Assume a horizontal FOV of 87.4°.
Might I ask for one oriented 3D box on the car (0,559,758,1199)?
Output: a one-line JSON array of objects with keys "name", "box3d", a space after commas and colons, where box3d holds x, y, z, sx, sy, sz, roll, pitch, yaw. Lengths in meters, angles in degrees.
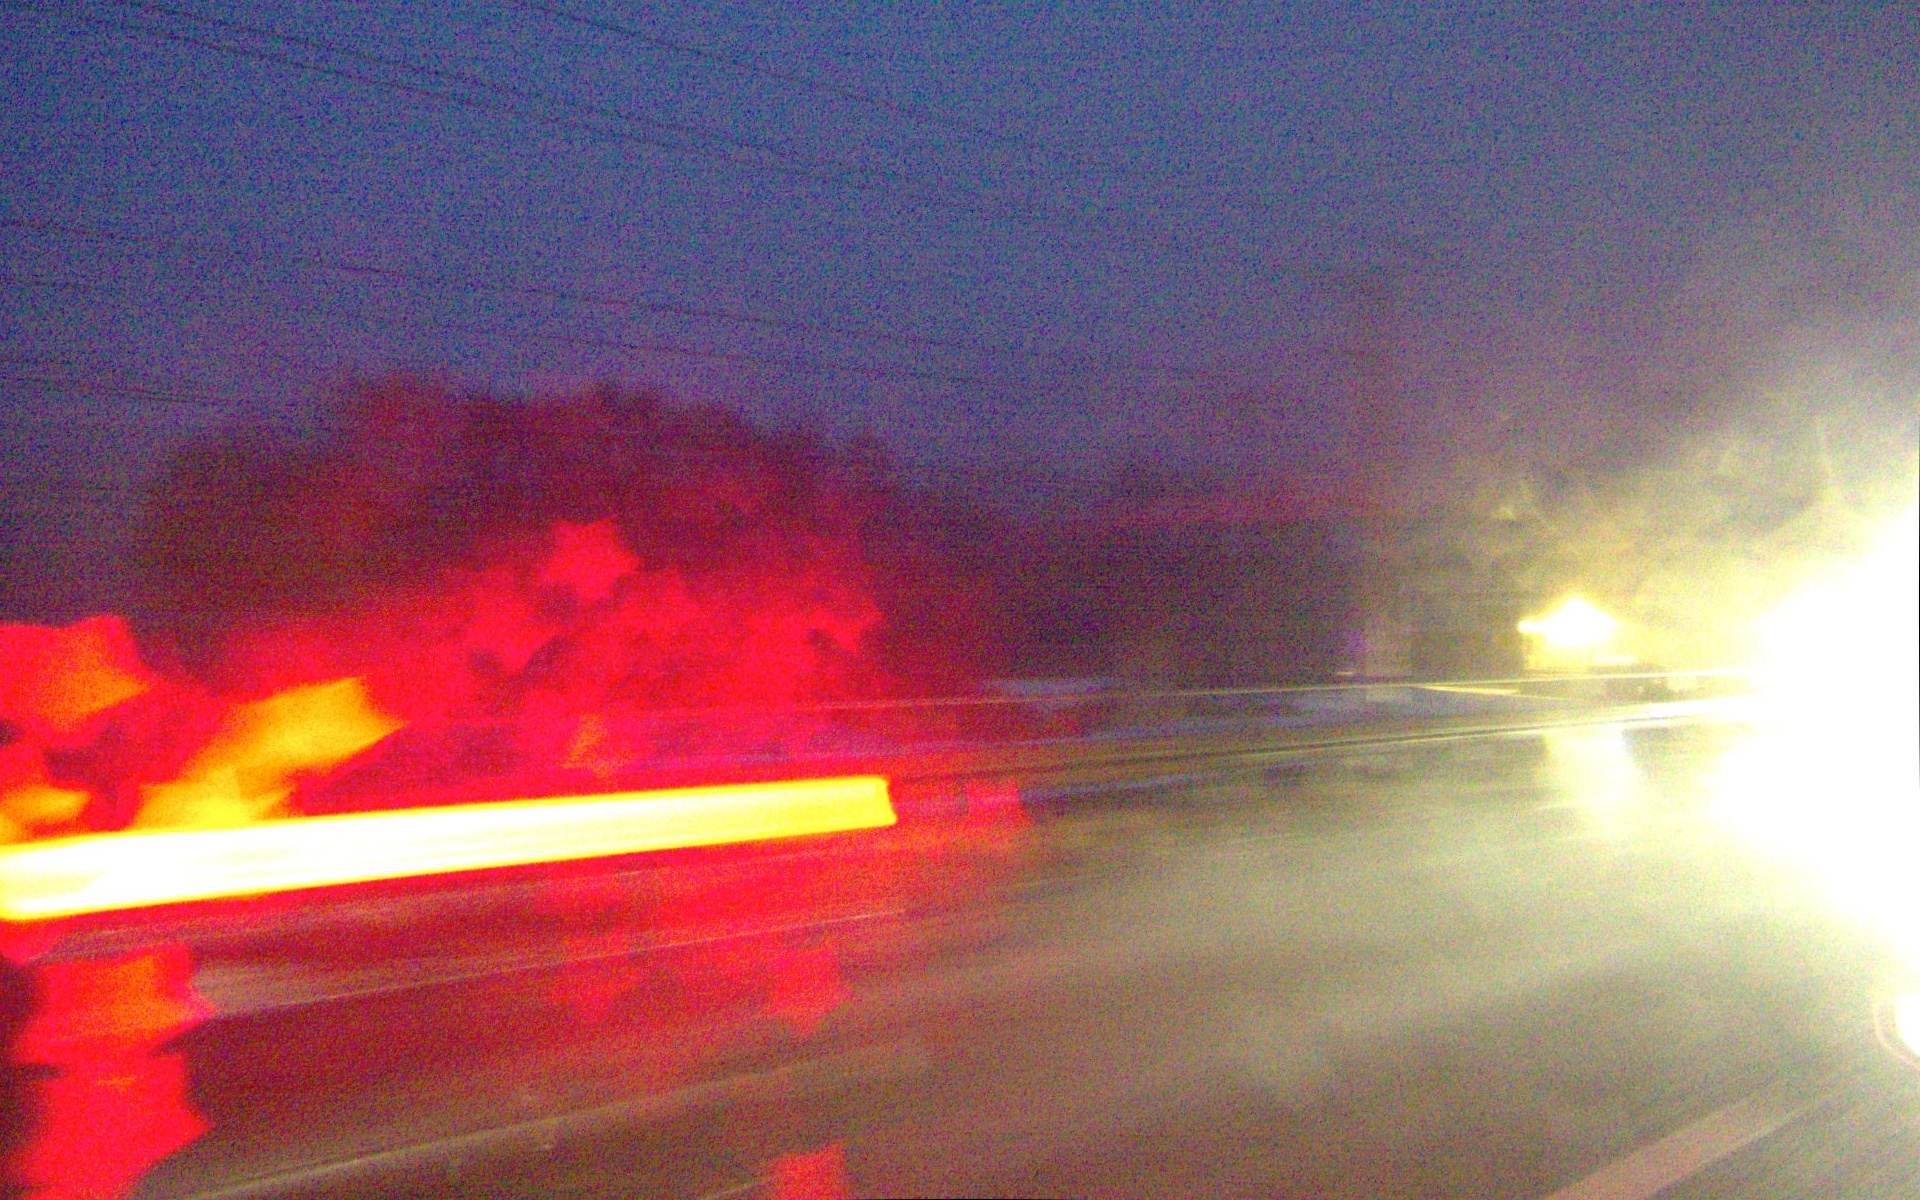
[{"name": "car", "box3d": [-2.499, 0.746, 2.004, 3.758, 1.558, 1.786, 1, -3, -32]}]
